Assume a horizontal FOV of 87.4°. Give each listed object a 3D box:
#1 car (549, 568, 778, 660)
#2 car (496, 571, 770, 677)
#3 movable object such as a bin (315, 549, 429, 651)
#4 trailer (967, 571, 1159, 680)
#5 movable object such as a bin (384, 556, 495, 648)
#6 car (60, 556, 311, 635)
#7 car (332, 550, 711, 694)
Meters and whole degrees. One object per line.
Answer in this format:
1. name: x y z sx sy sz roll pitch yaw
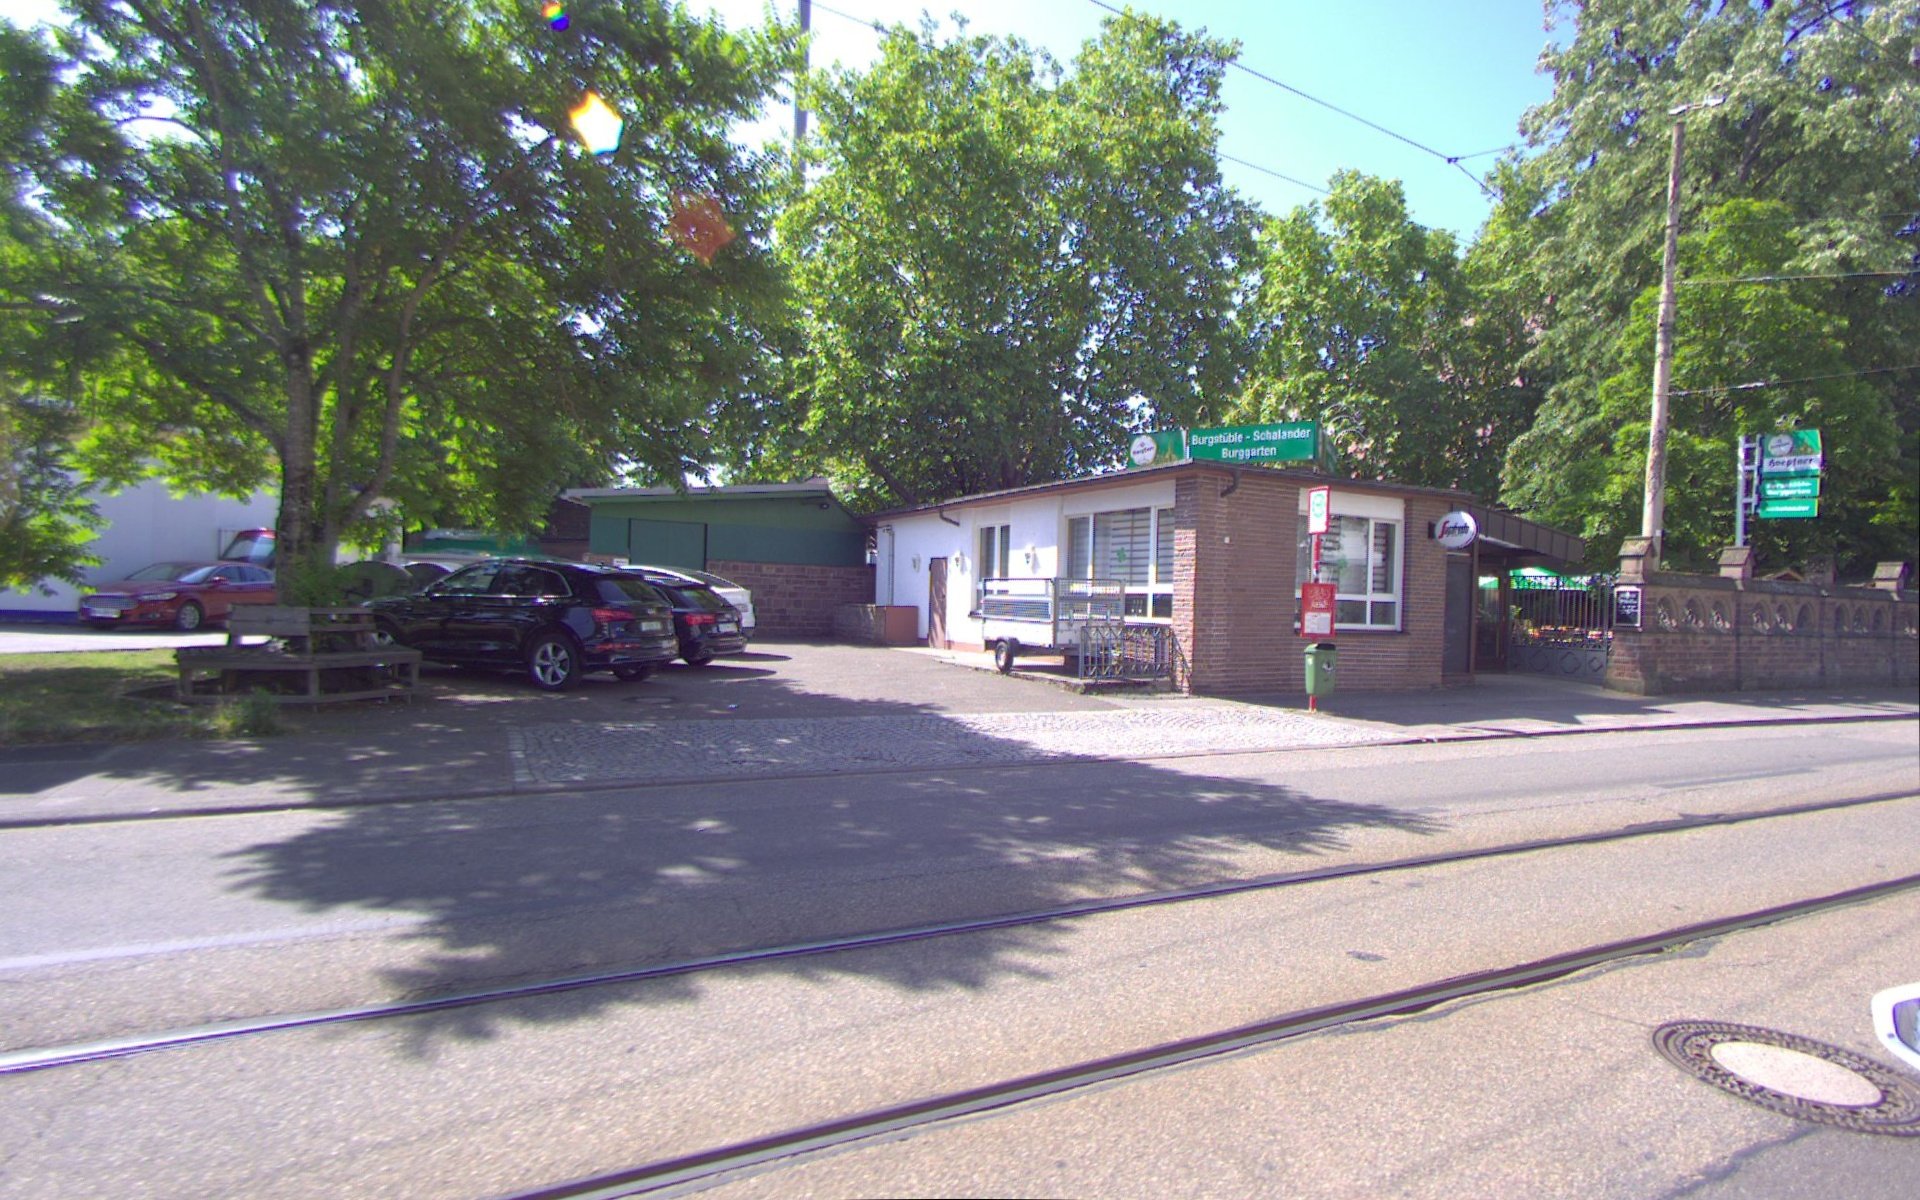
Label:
1. car: -5.800 0.233 19.772 3.920 1.578 1.848 2 1 17
2. car: -5.358 0.342 16.604 3.920 1.493 1.848 2 1 17
3. movable object such as a bin: -9.256 0.002 15.893 1.360 1.522 1.414 2 1 -24
4. trailer: 1.616 0.371 16.797 1.700 1.624 3.263 2 1 -26
5. movable object such as a bin: -9.104 0.033 17.652 1.355 1.522 1.419 1 0 -11
6. car: -16.169 -0.097 21.350 1.855 1.480 4.555 1 0 -1
7. car: -6.016 0.236 13.918 4.566 1.662 2.021 2 1 17
